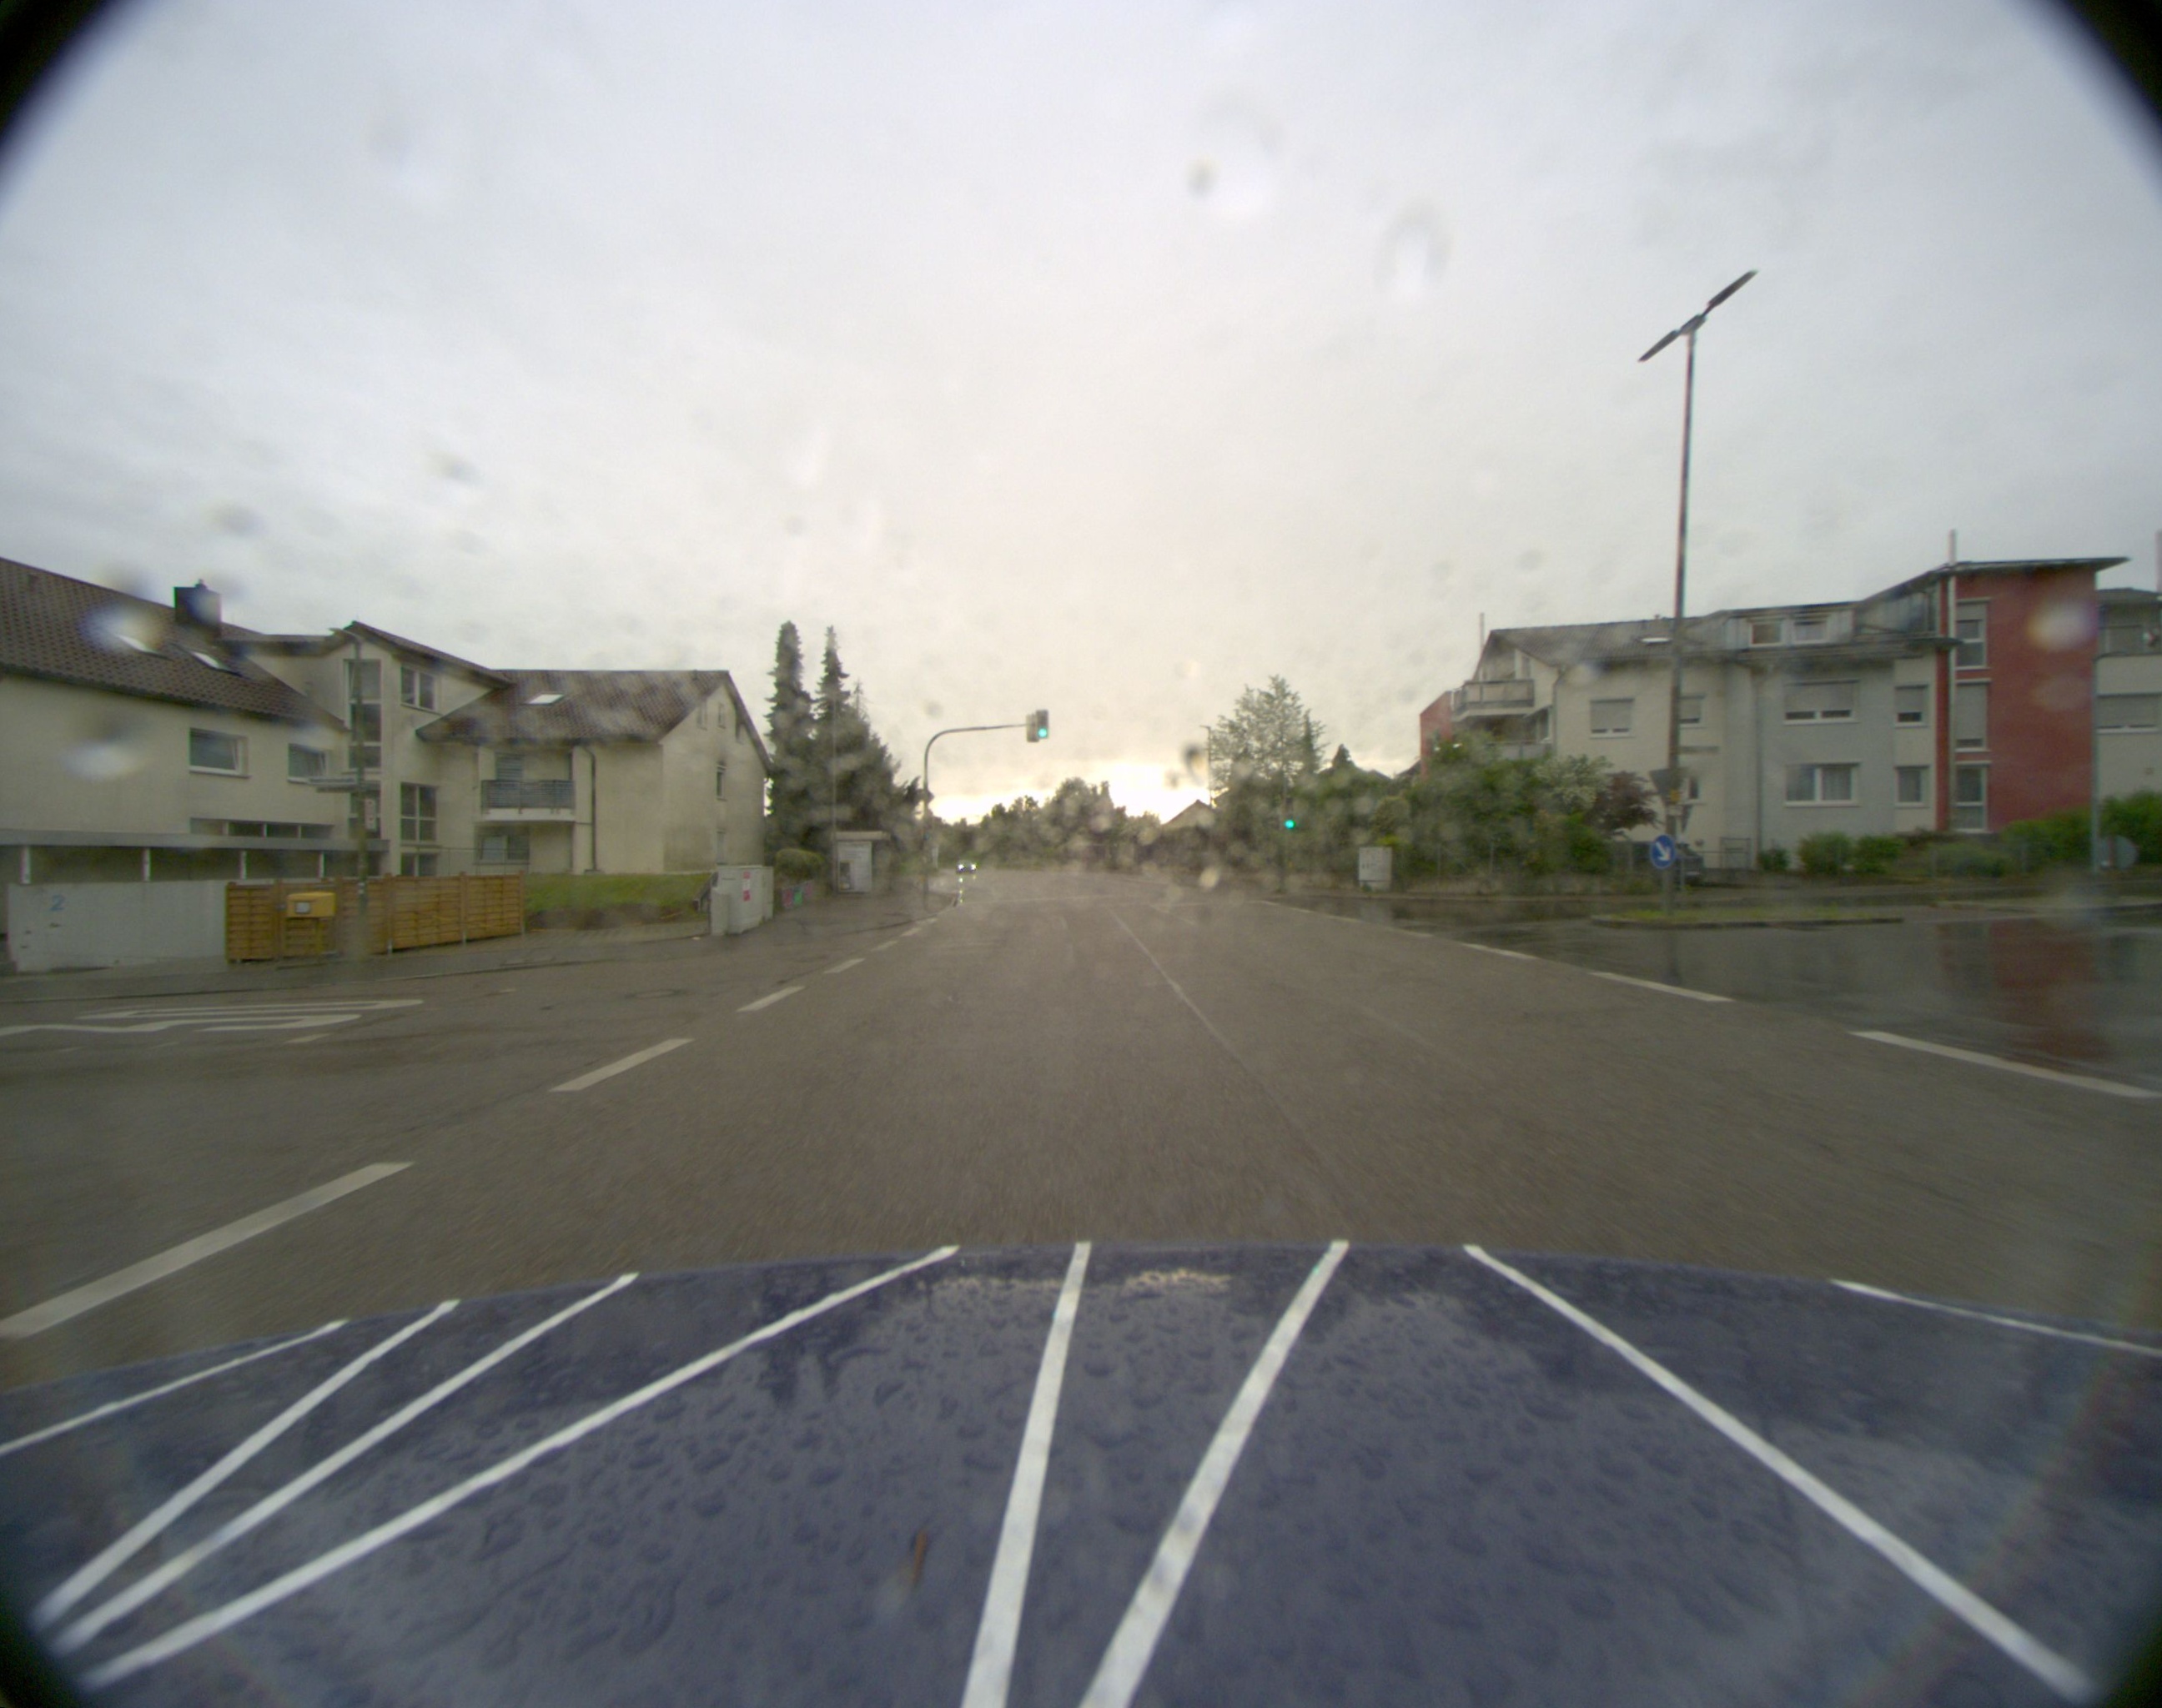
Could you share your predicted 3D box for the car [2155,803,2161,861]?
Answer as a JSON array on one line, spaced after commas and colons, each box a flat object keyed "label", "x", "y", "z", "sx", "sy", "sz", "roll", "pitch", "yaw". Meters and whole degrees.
[{"label": "car", "x": 37.326, "y": -0.761, "z": 24.127, "sx": 1.939, "sy": 2.002, "sz": 3.838, "roll": -2, "pitch": 0, "yaw": 22}]

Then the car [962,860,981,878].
[{"label": "car", "x": -12.176, "y": 1.643, "z": 84.332, "sx": 2.000, "sy": 1.831, "sz": 3.997, "roll": -1, "pitch": 0, "yaw": -10}]

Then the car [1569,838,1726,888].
[{"label": "car", "x": 17.460, "y": 0.253, "z": 23.634, "sx": 1.779, "sy": 1.413, "sz": 3.621, "roll": 0, "pitch": 0, "yaw": -14}]
